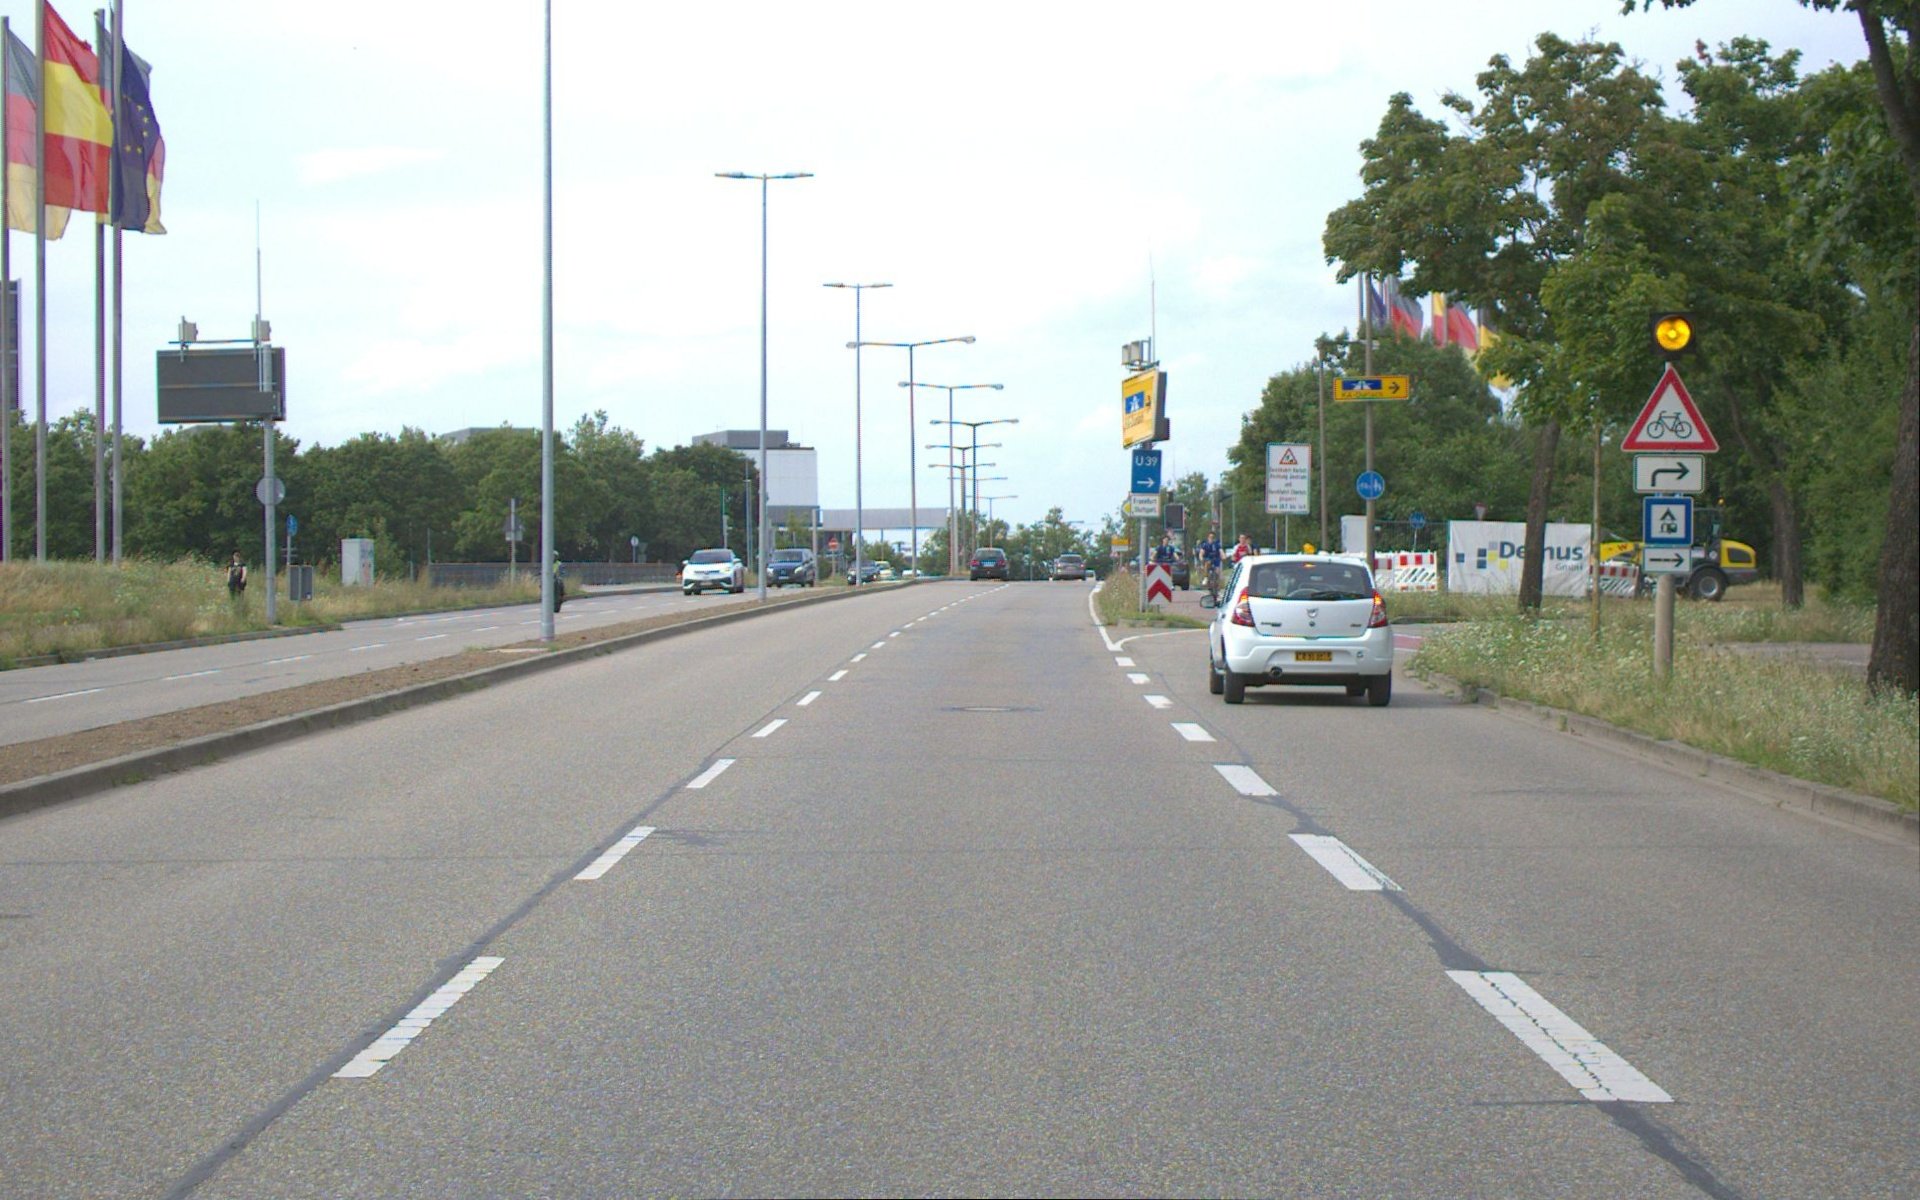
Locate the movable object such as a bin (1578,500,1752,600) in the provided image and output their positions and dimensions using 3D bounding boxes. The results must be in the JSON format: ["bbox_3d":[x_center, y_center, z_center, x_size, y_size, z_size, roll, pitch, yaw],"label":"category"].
[{"bbox_3d":[19.431,-1.370,94.871,4.503,2.680,2.101,1,0,7],"label":"movable object such as a bin"}]

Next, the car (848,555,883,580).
[{"bbox_3d":[-5.609,-1.937,203.839,1.763,1.436,4.177,-2,1,2],"label":"car"}]

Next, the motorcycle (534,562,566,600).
[{"bbox_3d":[-10.575,-0.495,88.714,0.522,0.963,2.220,-1,1,1],"label":"motorcycle"}]

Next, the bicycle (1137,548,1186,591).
[{"bbox_3d":[4.944,-0.762,84.501,0.620,1.002,2.103,3,1,-12],"label":"bicycle"}]

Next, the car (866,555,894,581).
[{"bbox_3d":[-5.274,-2.114,226.177,1.549,1.572,3.690,-2,1,2],"label":"car"}]

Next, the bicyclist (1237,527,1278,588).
[{"bbox_3d":[7.324,-1.050,84.594,0.741,1.482,0.958,1,0,-12],"label":"bicyclist"}]

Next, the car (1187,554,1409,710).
[{"bbox_3d":[3.474,0.297,35.976,1.847,1.497,4.000,1,0,-1],"label":"car"}]

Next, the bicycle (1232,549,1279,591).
[{"bbox_3d":[7.274,-0.734,84.638,0.620,1.002,1.788,-2,0,-12],"label":"bicycle"}]

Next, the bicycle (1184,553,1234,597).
[{"bbox_3d":[6.122,-0.615,84.482,0.595,1.033,2.196,3,1,-12],"label":"bicycle"}]

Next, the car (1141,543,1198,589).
[{"bbox_3d":[7.935,-1.269,130.688,1.730,1.647,4.115,1,0,-2],"label":"car"}]

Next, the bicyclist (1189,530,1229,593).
[{"bbox_3d":[6.122,-0.946,84.511,0.741,1.513,0.958,1,0,-11],"label":"bicyclist"}]

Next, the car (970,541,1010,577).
[{"bbox_3d":[1.433,-1.944,165.235,1.731,1.647,4.114,1,0,3],"label":"car"}]

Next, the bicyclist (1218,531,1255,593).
[{"bbox_3d":[6.580,-0.903,81.885,0.740,1.469,0.806,1,0,-5],"label":"bicyclist"}]

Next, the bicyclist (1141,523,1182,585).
[{"bbox_3d":[4.945,-1.128,84.521,0.741,1.513,0.958,1,0,-12],"label":"bicyclist"}]

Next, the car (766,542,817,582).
[{"bbox_3d":[-8.373,-1.905,170.916,1.847,1.887,5.504,-3,1,3],"label":"car"}]

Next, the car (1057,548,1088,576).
[{"bbox_3d":[6.522,-2.205,200.252,1.730,1.521,4.115,1,0,1],"label":"car"}]

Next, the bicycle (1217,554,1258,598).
[{"bbox_3d":[6.600,-0.571,81.879,0.620,1.002,1.788,-2,0,-6],"label":"bicycle"}]

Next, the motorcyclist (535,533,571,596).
[{"bbox_3d":[-10.484,-0.925,88.618,0.770,1.583,0.896,-2,1,1],"label":"motorcyclist"}]

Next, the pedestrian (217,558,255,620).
[{"bbox_3d":[-20.336,-0.311,96.566,0.865,1.687,0.679,-2,1,1],"label":"pedestrian"}]

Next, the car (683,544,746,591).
[{"bbox_3d":[-8.839,-1.188,124.032,1.847,1.595,4.561,-1,2,1],"label":"car"}]
